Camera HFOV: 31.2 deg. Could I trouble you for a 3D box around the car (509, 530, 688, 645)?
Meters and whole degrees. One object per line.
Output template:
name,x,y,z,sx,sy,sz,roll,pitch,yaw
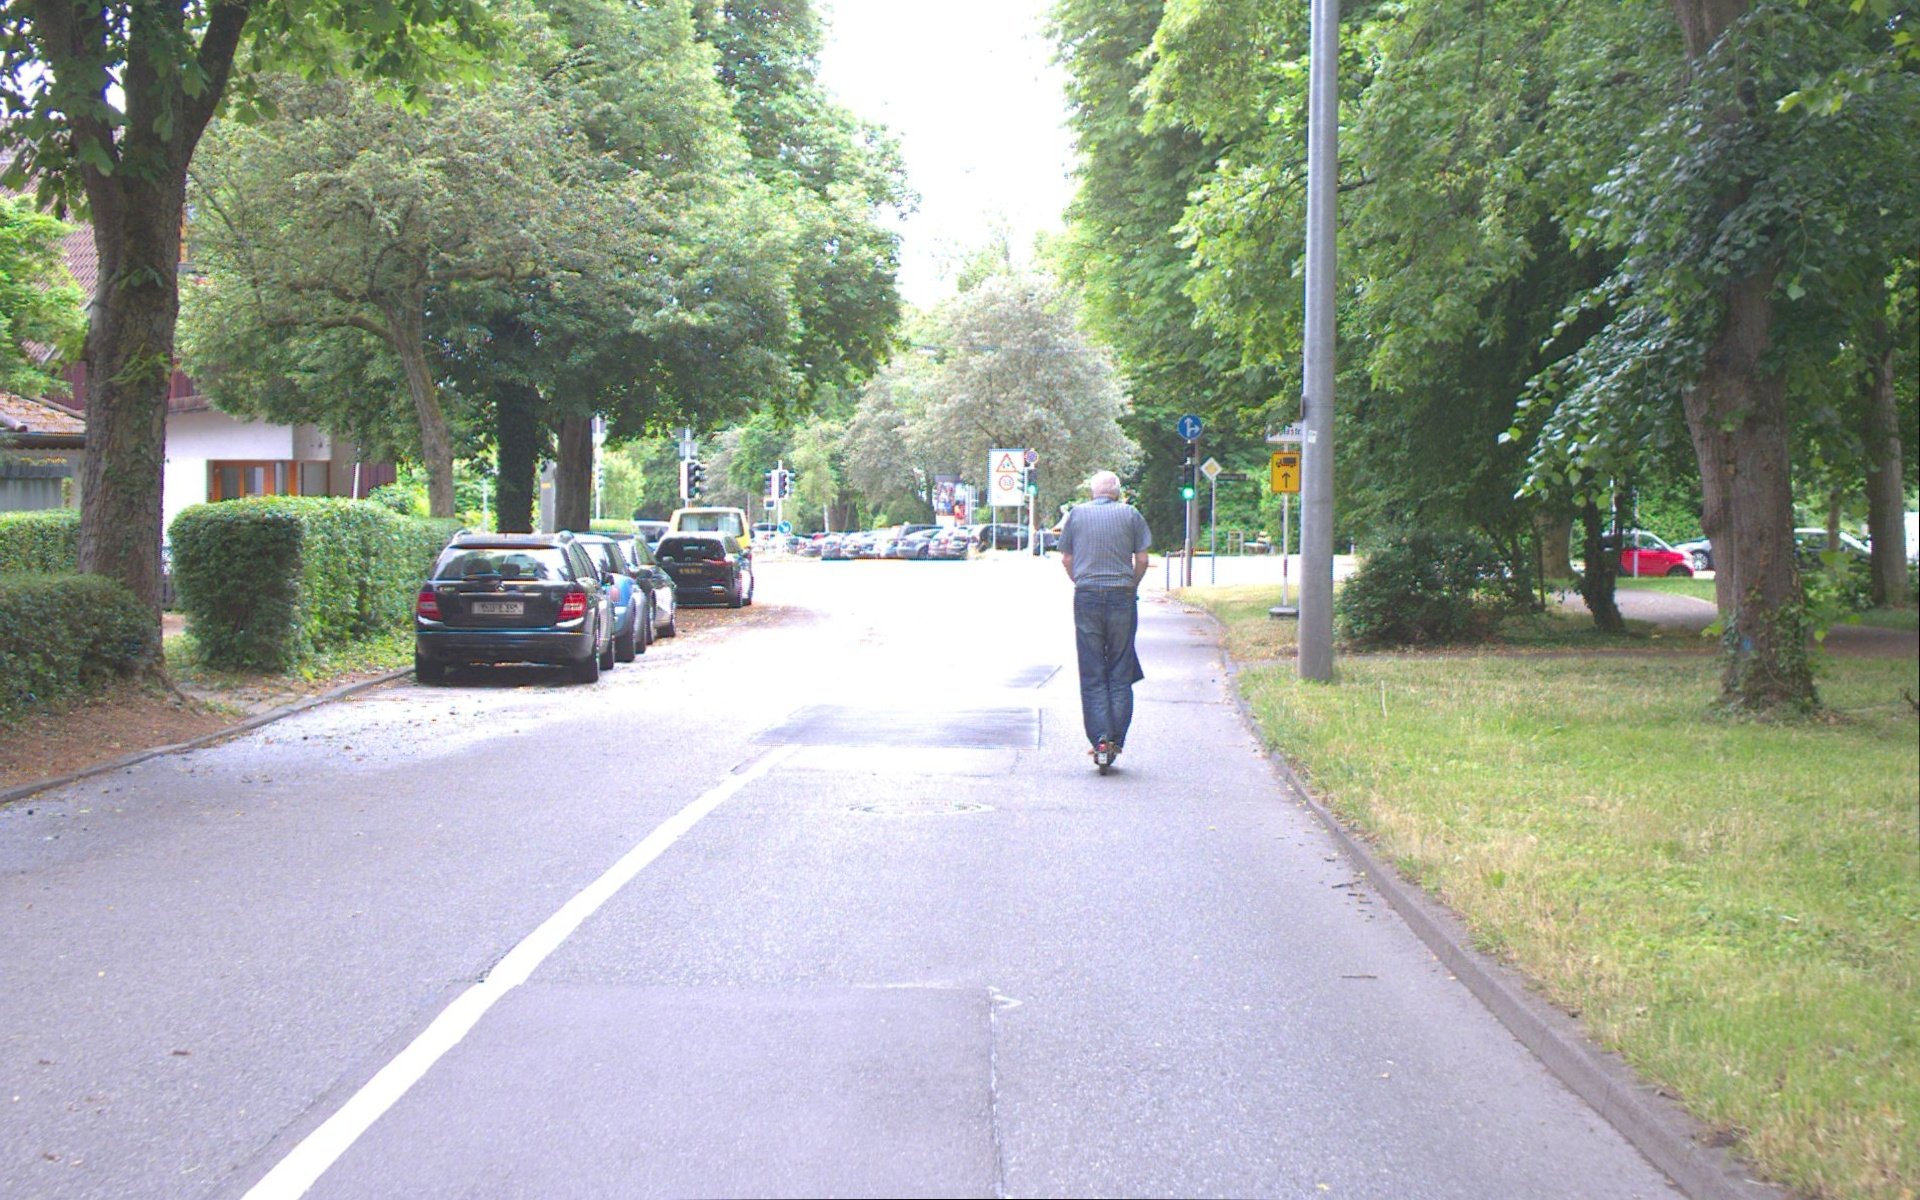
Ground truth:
car,-4.683,-0.202,45.082,1.794,1.405,4.645,0,1,1

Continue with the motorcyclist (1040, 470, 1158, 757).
motorcyclist,0.866,0.077,21.571,0.673,1.755,0.639,2,1,1

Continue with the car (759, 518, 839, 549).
car,-8.114,-3.354,173.552,3.986,1.505,1.800,0,1,-3

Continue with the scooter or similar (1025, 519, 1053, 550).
scooter or similar,2.627,-2.166,113.800,0.711,1.045,0.786,0,1,19

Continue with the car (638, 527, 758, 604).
car,-4.942,-0.661,65.384,1.892,1.405,4.554,0,1,0

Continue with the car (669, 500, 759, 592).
car,-5.488,-1.194,76.307,1.857,1.957,4.505,0,1,-6

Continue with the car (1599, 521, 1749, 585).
car,19.734,-1.316,95.007,3.989,1.551,1.799,2,4,12

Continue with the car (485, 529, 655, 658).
car,-4.423,-0.105,39.367,1.664,1.387,3.707,0,1,-2

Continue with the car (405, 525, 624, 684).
car,-4.383,-0.009,34.388,1.794,1.467,4.419,0,1,-3

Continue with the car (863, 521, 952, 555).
car,-2.422,-2.832,157.126,3.986,1.505,1.800,0,1,-3

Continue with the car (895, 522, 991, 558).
car,-0.731,-2.574,146.406,3.986,1.505,1.800,0,1,-3

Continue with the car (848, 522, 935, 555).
car,-3.169,-2.866,159.025,3.986,1.505,1.800,0,1,-3

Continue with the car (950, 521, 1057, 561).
car,1.666,-2.266,132.428,3.986,1.505,1.800,0,1,-3

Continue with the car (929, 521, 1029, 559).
car,0.755,-2.434,139.565,3.986,1.505,1.800,0,1,-3

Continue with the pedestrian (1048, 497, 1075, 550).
pedestrian,3.348,-2.527,113.568,0.733,1.755,0.661,0,1,19

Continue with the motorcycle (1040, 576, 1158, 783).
motorcycle,0.854,0.475,21.446,0.673,1.213,1.274,2,1,1
